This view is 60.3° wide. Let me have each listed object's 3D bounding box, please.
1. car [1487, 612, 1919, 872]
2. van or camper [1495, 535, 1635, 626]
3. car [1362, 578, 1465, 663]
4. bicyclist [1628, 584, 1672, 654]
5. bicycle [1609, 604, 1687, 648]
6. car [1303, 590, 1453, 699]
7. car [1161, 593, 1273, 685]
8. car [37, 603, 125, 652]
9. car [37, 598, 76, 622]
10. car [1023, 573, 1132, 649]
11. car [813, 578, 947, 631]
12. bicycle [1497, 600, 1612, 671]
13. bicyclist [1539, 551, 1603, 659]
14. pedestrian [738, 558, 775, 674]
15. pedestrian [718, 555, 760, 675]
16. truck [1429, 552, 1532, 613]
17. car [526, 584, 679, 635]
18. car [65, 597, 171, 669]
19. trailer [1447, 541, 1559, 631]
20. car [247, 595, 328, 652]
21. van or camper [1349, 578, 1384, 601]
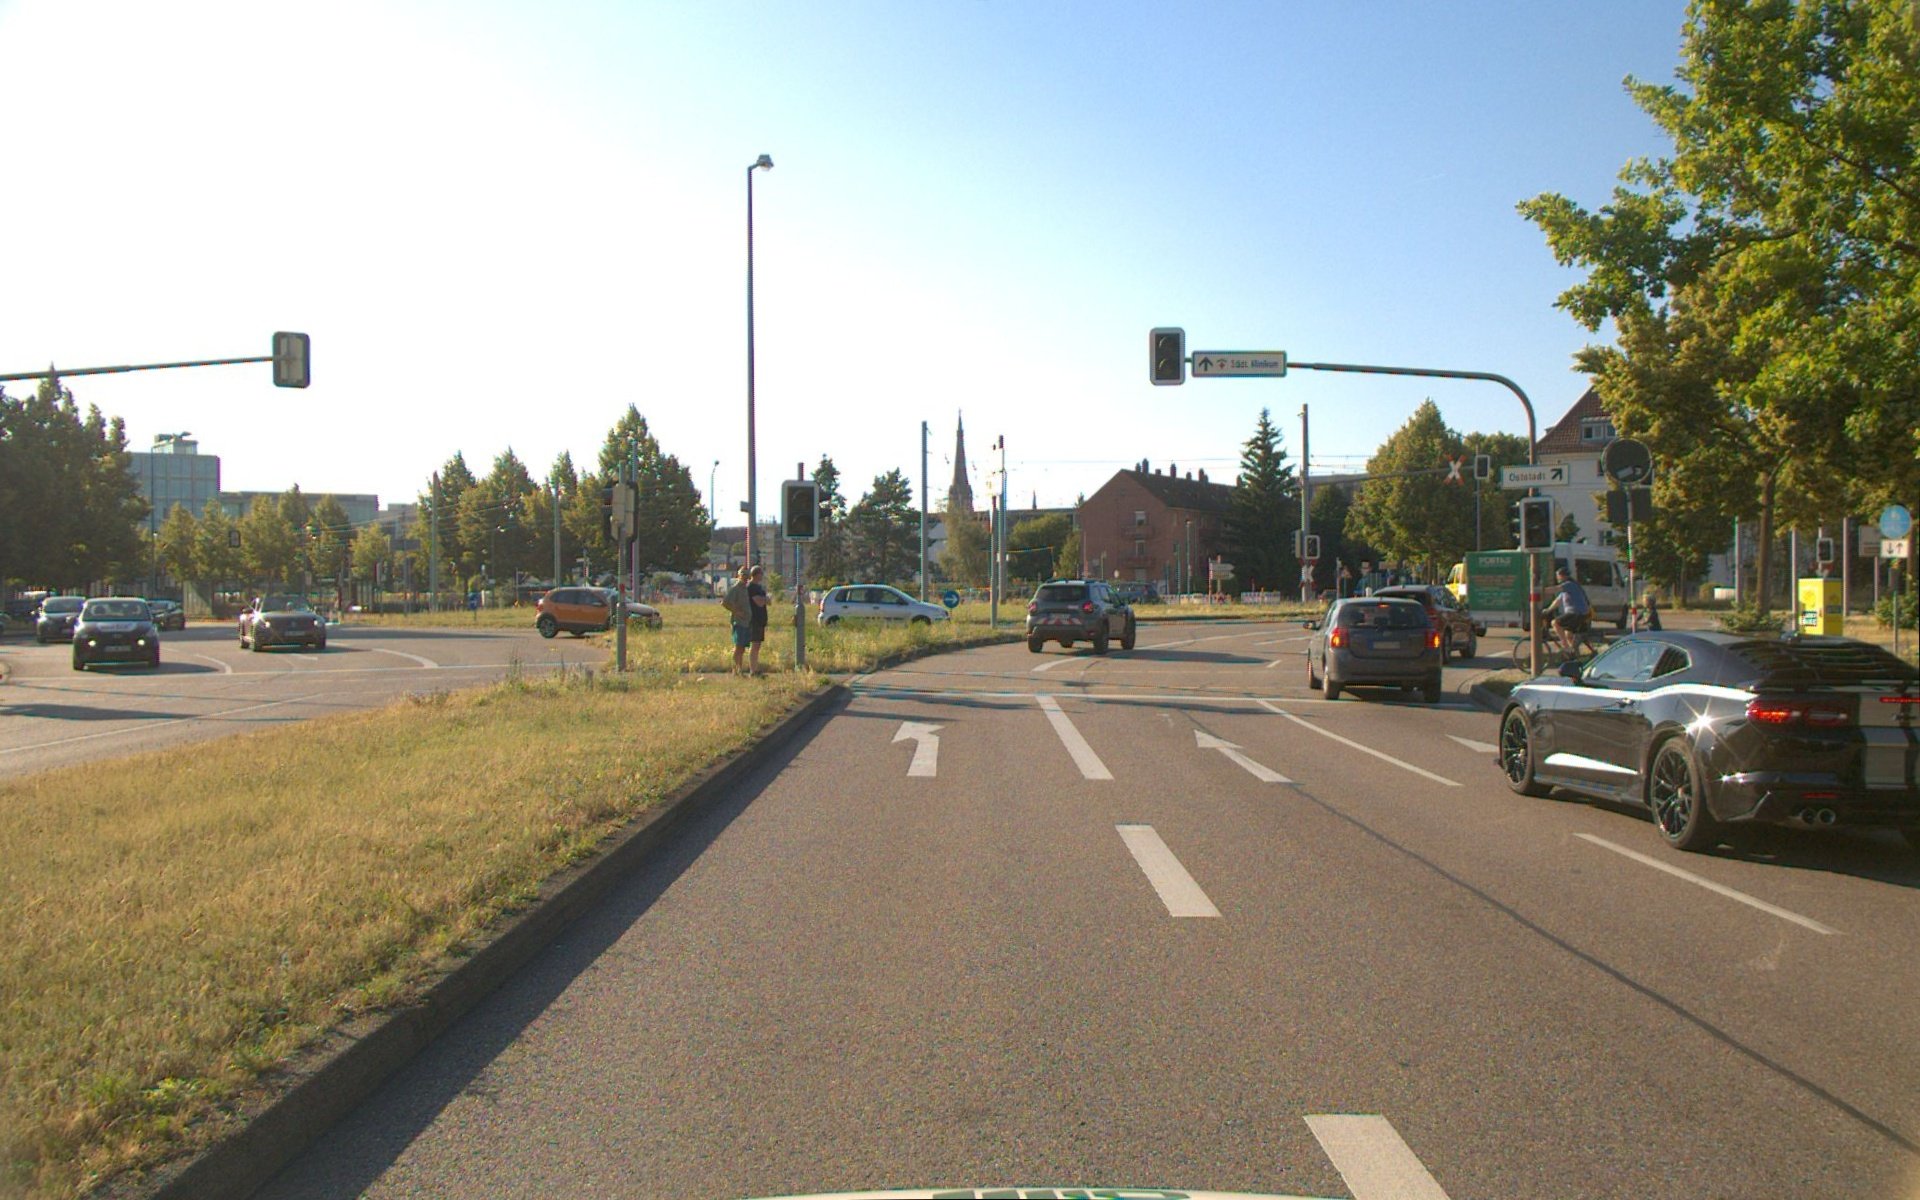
[{"bbox_3d":[5.354,0.819,11.525,1.816,1.361,4.624,1,0,-1],"label":"car"},{"bbox_3d":[18.942,-0.586,51.544,2.248,2.675,6.554,1,1,37],"label":"van or camper"},{"bbox_3d":[9.862,0.390,35.806,1.711,1.649,3.820,2,2,21],"label":"car"},{"bbox_3d":[13.215,0.353,31.682,0.638,1.317,0.464,-1,1,-18],"label":"bicyclist"},{"bbox_3d":[13.180,0.499,31.677,1.436,0.800,0.438,-1,0,-18],"label":"bicycle"},{"bbox_3d":[6.259,0.619,25.112,1.710,1.499,3.823,-1,0,7],"label":"car"},{"bbox_3d":[4.856,0.694,31.689,1.569,1.638,4.000,0,0,1],"label":"car"},{"bbox_3d":[-27.422,0.843,51.539,1.657,1.400,3.723,-2,1,-40],"label":"car"},{"bbox_3d":[-77.762,0.876,142.384,1.985,2.049,3.936,-1,0,-44],"label":"car"},{"bbox_3d":[2.805,0.246,38.664,1.865,1.689,4.003,0,0,14],"label":"car"},{"bbox_3d":[-2.266,0.117,47.688,3.668,1.459,1.837,-1,0,4],"label":"car"},{"bbox_3d":[10.970,0.660,30.541,1.872,1.266,0.607,-2,-1,37],"label":"bicycle"},{"bbox_3d":[11.209,0.092,30.354,0.920,1.932,0.599,-2,-1,37],"label":"bicyclist"},{"bbox_3d":[-3.337,0.251,27.172,0.475,1.876,0.672,-1,0,3],"label":"pedestrian"},{"bbox_3d":[-3.506,0.228,26.233,0.475,1.876,0.720,0,0,8],"label":"pedestrian"},{"bbox_3d":[23.411,-0.768,74.673,2.528,2.602,6.250,-1,0,-2],"label":"truck"},{"bbox_3d":[-10.651,0.272,49.334,4.040,1.470,1.910,0,0,19],"label":"car"},{"bbox_3d":[-18.701,0.703,36.668,1.653,1.467,3.572,-2,1,-34],"label":"car"},{"bbox_3d":[15.340,-0.390,46.667,2.055,2.442,3.488,1,0,35],"label":"trailer"},{"bbox_3d":[-18.235,0.603,44.771,1.648,1.400,4.112,-2,1,-27],"label":"car"},{"bbox_3d":[39.603,-1.057,161.160,2.055,2.192,4.413,0,0,31],"label":"van or camper"}]
